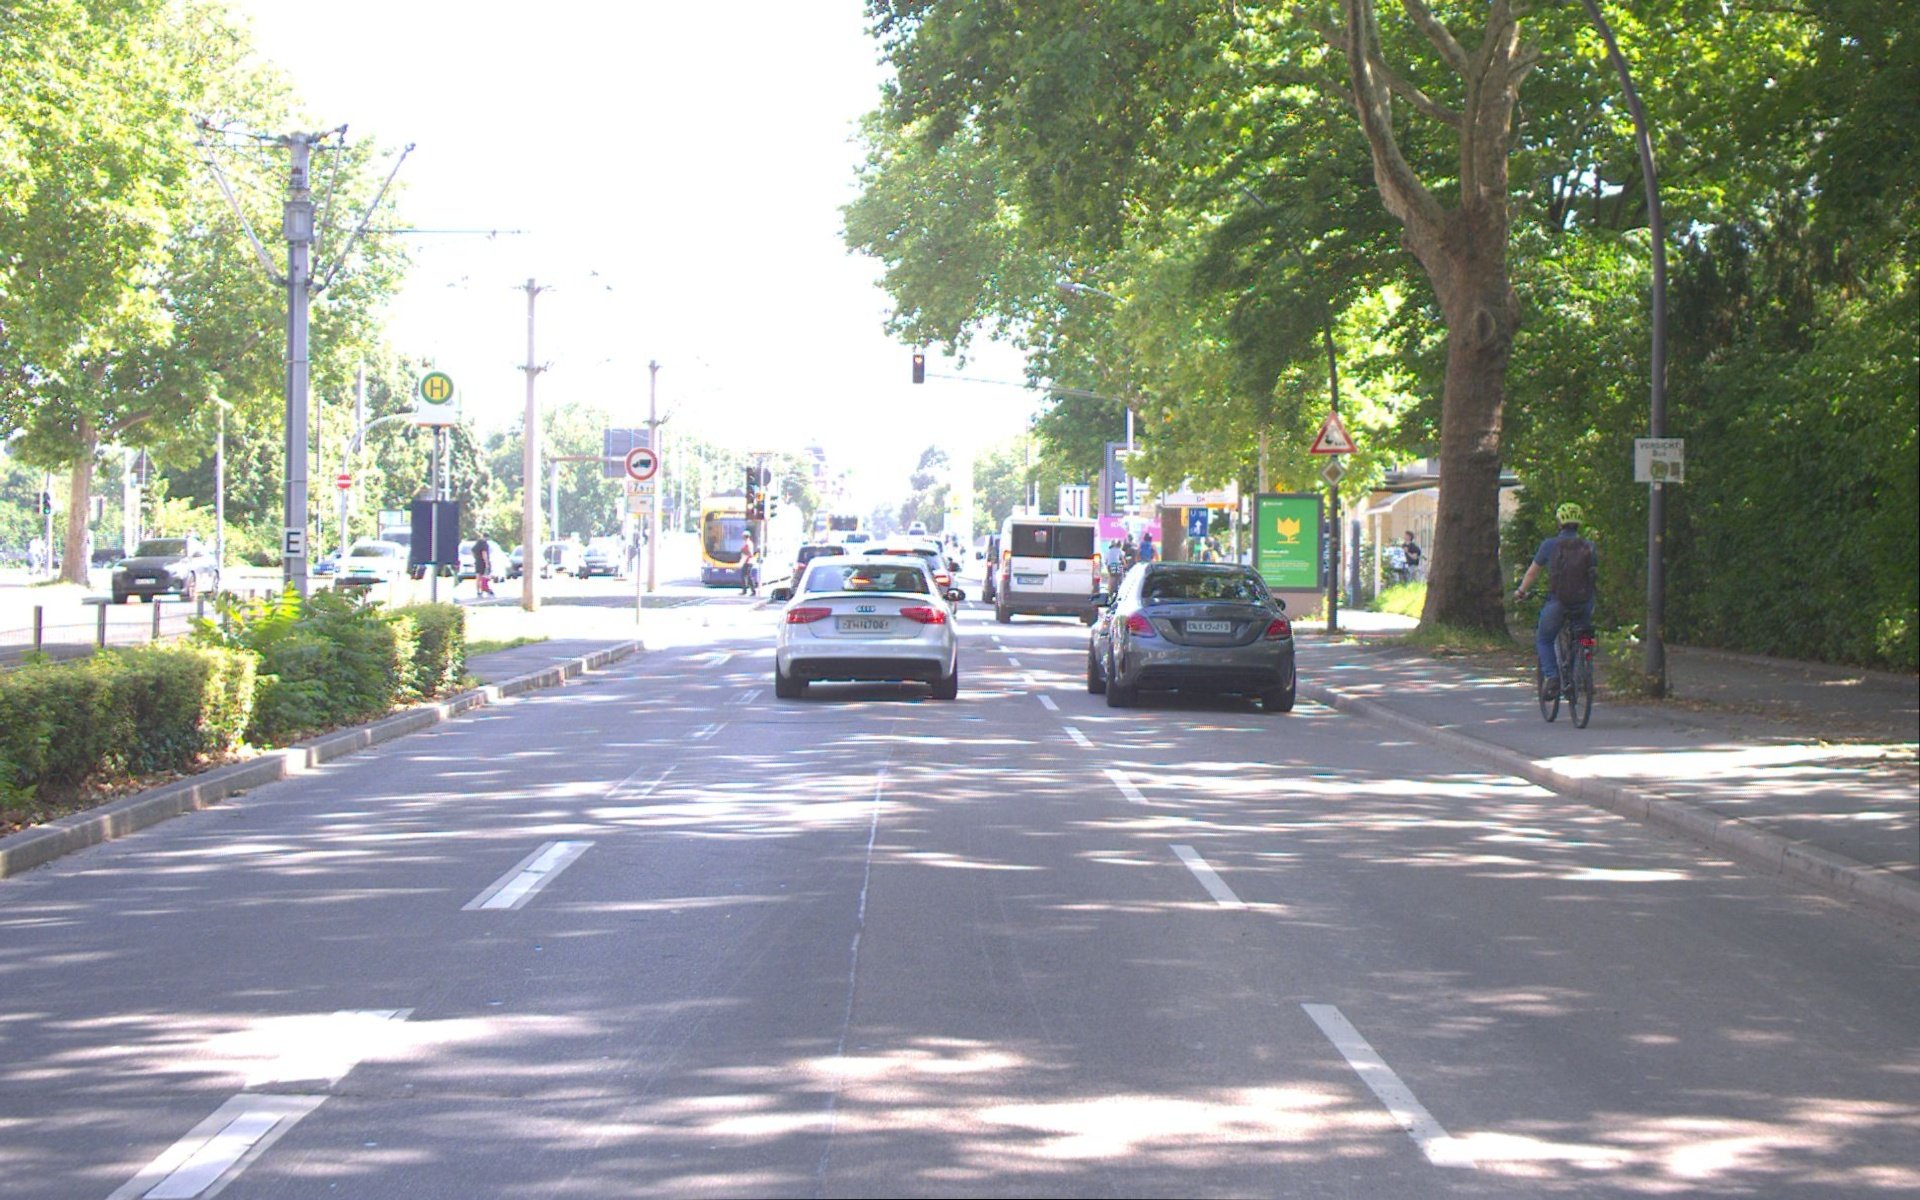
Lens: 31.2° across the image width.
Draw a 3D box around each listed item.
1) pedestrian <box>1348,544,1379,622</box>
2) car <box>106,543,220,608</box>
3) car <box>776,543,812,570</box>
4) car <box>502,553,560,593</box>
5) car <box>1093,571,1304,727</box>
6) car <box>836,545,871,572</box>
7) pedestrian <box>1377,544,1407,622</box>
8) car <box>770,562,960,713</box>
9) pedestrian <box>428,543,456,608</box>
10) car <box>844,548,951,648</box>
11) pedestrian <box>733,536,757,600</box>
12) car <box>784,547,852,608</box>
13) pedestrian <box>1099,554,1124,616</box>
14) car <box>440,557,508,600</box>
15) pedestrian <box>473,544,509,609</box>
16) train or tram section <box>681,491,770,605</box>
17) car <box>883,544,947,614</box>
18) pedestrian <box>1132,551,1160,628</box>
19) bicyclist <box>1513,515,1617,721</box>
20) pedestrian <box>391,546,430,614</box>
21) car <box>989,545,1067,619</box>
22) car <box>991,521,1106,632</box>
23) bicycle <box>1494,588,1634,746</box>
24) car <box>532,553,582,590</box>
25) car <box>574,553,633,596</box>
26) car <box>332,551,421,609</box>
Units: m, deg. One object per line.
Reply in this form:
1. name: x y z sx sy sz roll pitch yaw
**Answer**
1. pedestrian: 9.795 -0.416 83.446 0.613 1.890 0.694 1 0 -3
2. car: -20.539 -0.642 88.806 1.830 1.619 4.896 1 1 -1
3. car: -10.235 -2.651 211.956 1.871 1.603 4.000 1 1 2
4. car: -17.868 -1.130 143.280 1.871 1.603 4.000 1 1 0
5. car: 2.324 0.445 34.374 1.782 1.415 4.000 1 1 0
6. car: -6.569 -2.548 211.883 1.871 1.603 4.000 1 1 2
7. pedestrian: 10.470 -0.408 83.373 0.613 1.890 0.597 1 0 -3
8. car: -0.916 0.340 34.858 1.784 1.416 3.885 1 1 0
9. pedestrian: -13.134 -0.623 87.116 0.593 1.641 0.554 1 0 0
10. car: -1.031 -0.058 58.352 1.729 1.599 3.885 1 1 0
11. pedestrian: -6.481 -0.960 103.754 0.624 1.911 0.690 1 0 0
12. car: -3.970 -0.640 96.697 1.729 1.625 4.000 1 1 0
13. pedestrian: 4.140 -0.409 94.213 0.602 1.689 0.953 -1 0 0
14. car: -17.479 -0.767 123.885 1.796 1.483 4.385 1 1 0
15. pedestrian: -12.793 -0.644 93.787 0.775 1.728 0.754 1 0 8
16. train or tram section: -8.559 -1.902 126.064 2.616 4.001 7.749 1 1 0
17. car: -1.239 -0.590 96.905 1.729 1.895 4.000 1 1 0
18. pedestrian: 4.757 -0.272 87.769 0.635 1.939 0.719 1 0 0
19. bicyclist: 4.979 0.132 28.333 0.634 1.642 0.979 -2 2 -1
20. pedestrian: -13.217 -0.489 82.626 0.757 1.617 0.595 1 0 -25
21. car: 1.915 -0.520 97.631 2.072 1.992 4.058 1 1 0
22. car: 1.815 -0.505 71.861 2.230 2.204 4.162 1 1 0
23. bicycle: 4.987 0.534 28.501 0.714 1.144 2.179 -2 3 -1
24. car: -18.211 -1.303 155.372 1.763 1.603 3.860 1 1 0
25. car: -14.856 -1.063 143.486 1.993 1.728 4.000 1 1 0
26. car: -16.498 -0.584 97.373 1.810 1.557 4.305 1 1 -1
